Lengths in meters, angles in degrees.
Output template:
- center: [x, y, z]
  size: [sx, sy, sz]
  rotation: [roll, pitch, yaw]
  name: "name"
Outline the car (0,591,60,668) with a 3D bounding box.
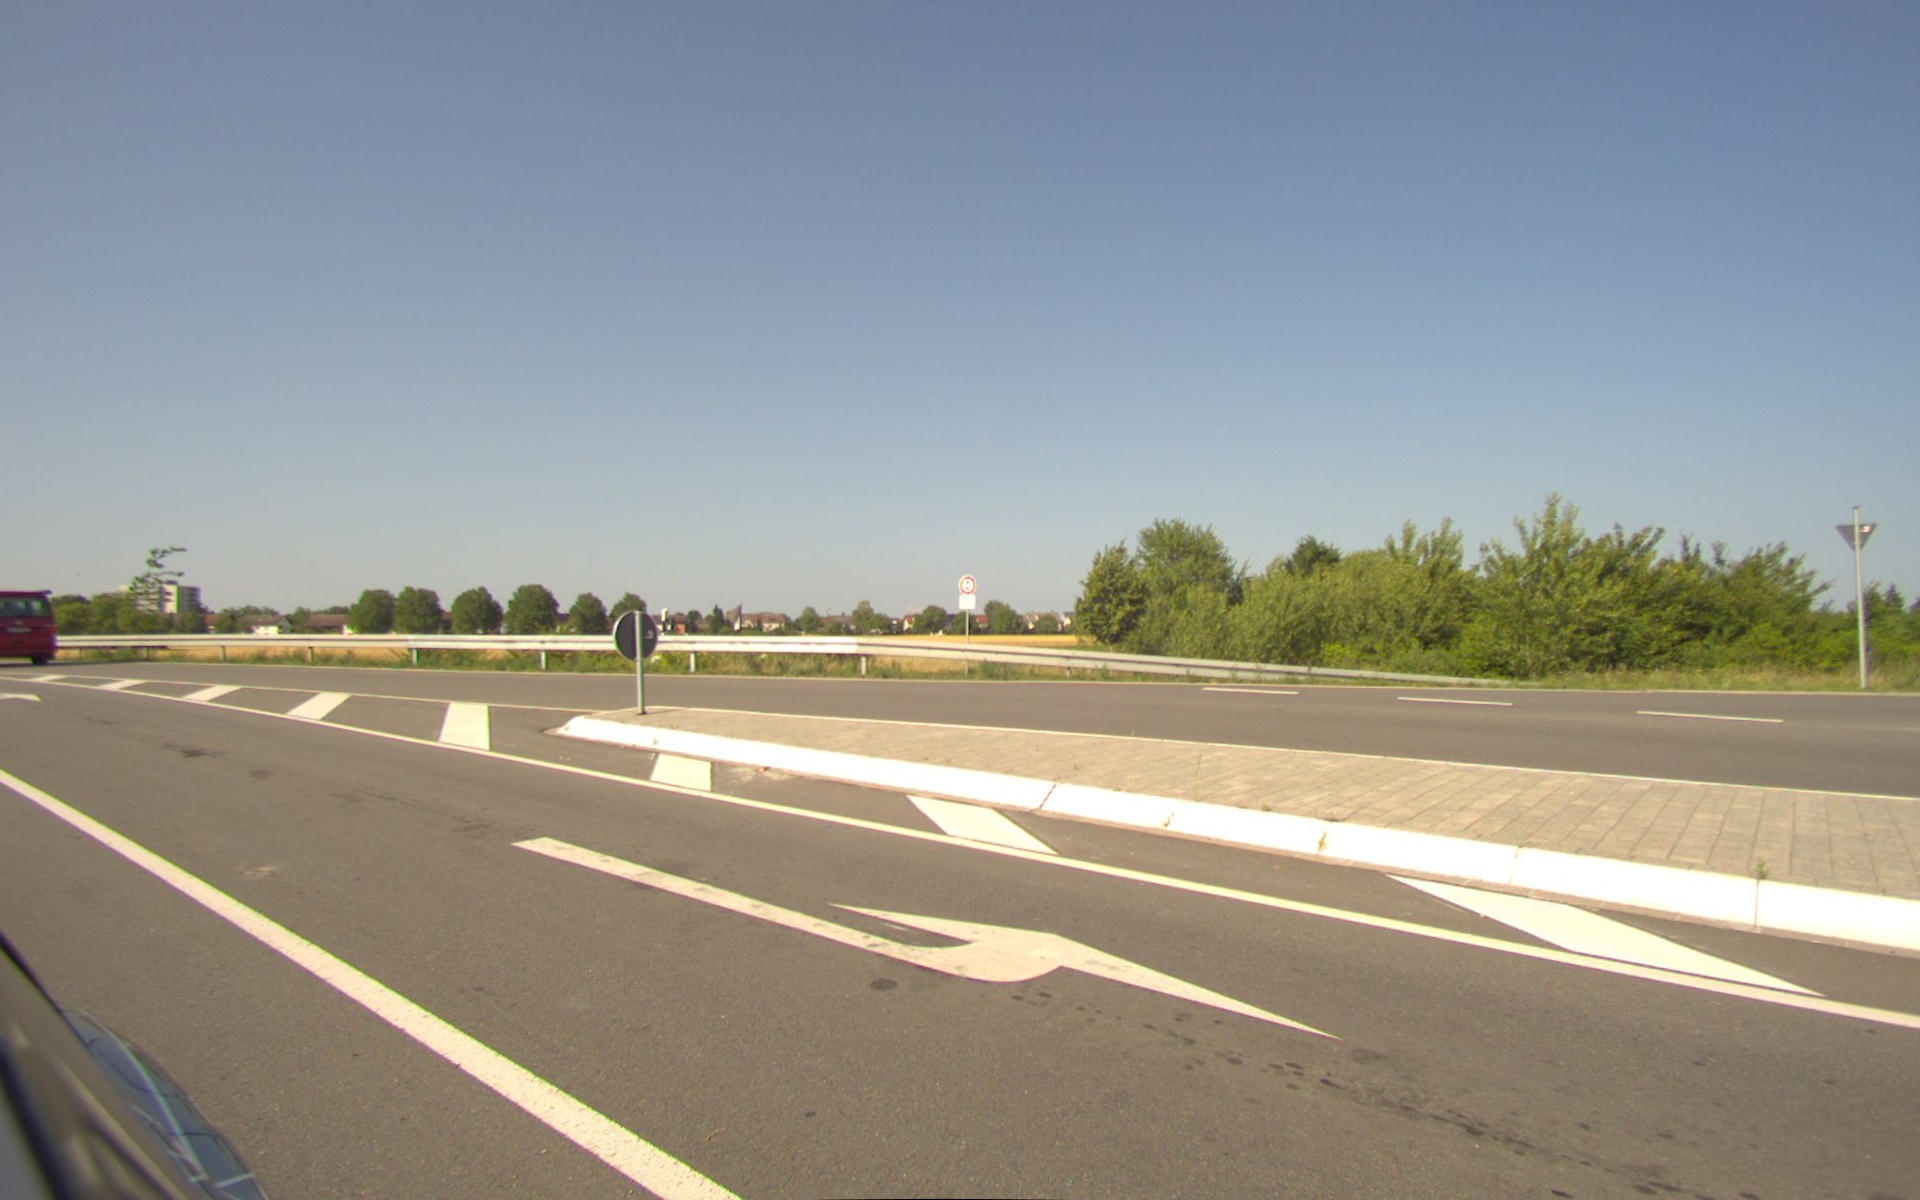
- center: [-26.457, 0.840, 27.155]
  size: [4.901, 1.955, 1.822]
  rotation: [-2, -2, 27]
  name: "car"
